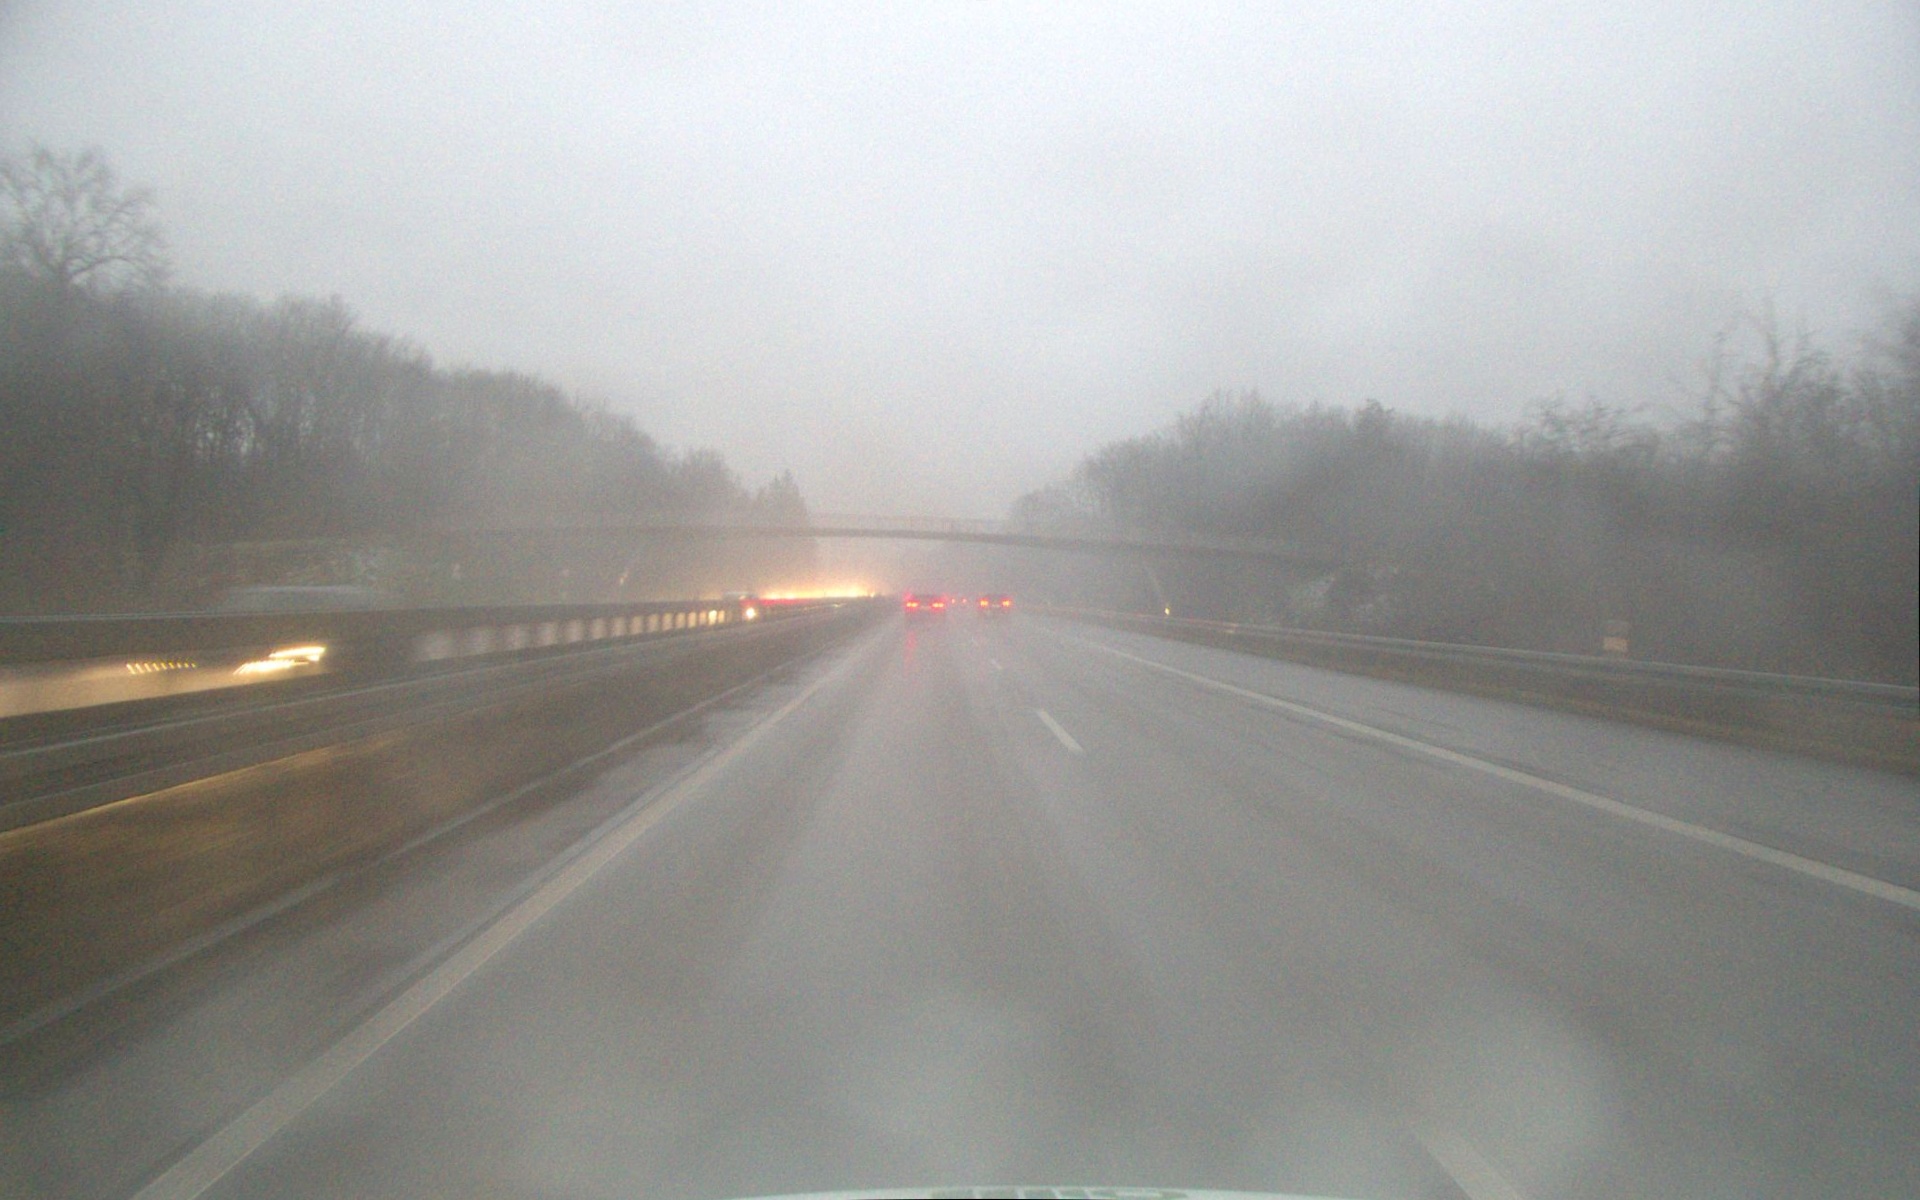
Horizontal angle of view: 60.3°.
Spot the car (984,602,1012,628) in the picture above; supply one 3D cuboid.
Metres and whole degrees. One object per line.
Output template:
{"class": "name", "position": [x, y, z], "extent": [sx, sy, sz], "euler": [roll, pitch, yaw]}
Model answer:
{"class": "car", "position": [2.140, 0.833, 93.884], "extent": [1.424, 1.454, 3.489], "euler": [1, 0, -1]}

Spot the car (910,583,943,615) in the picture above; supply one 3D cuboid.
{"class": "car", "position": [-1.520, -0.027, 75.565], "extent": [1.424, 1.367, 3.489], "euler": [2, 0, -1]}
